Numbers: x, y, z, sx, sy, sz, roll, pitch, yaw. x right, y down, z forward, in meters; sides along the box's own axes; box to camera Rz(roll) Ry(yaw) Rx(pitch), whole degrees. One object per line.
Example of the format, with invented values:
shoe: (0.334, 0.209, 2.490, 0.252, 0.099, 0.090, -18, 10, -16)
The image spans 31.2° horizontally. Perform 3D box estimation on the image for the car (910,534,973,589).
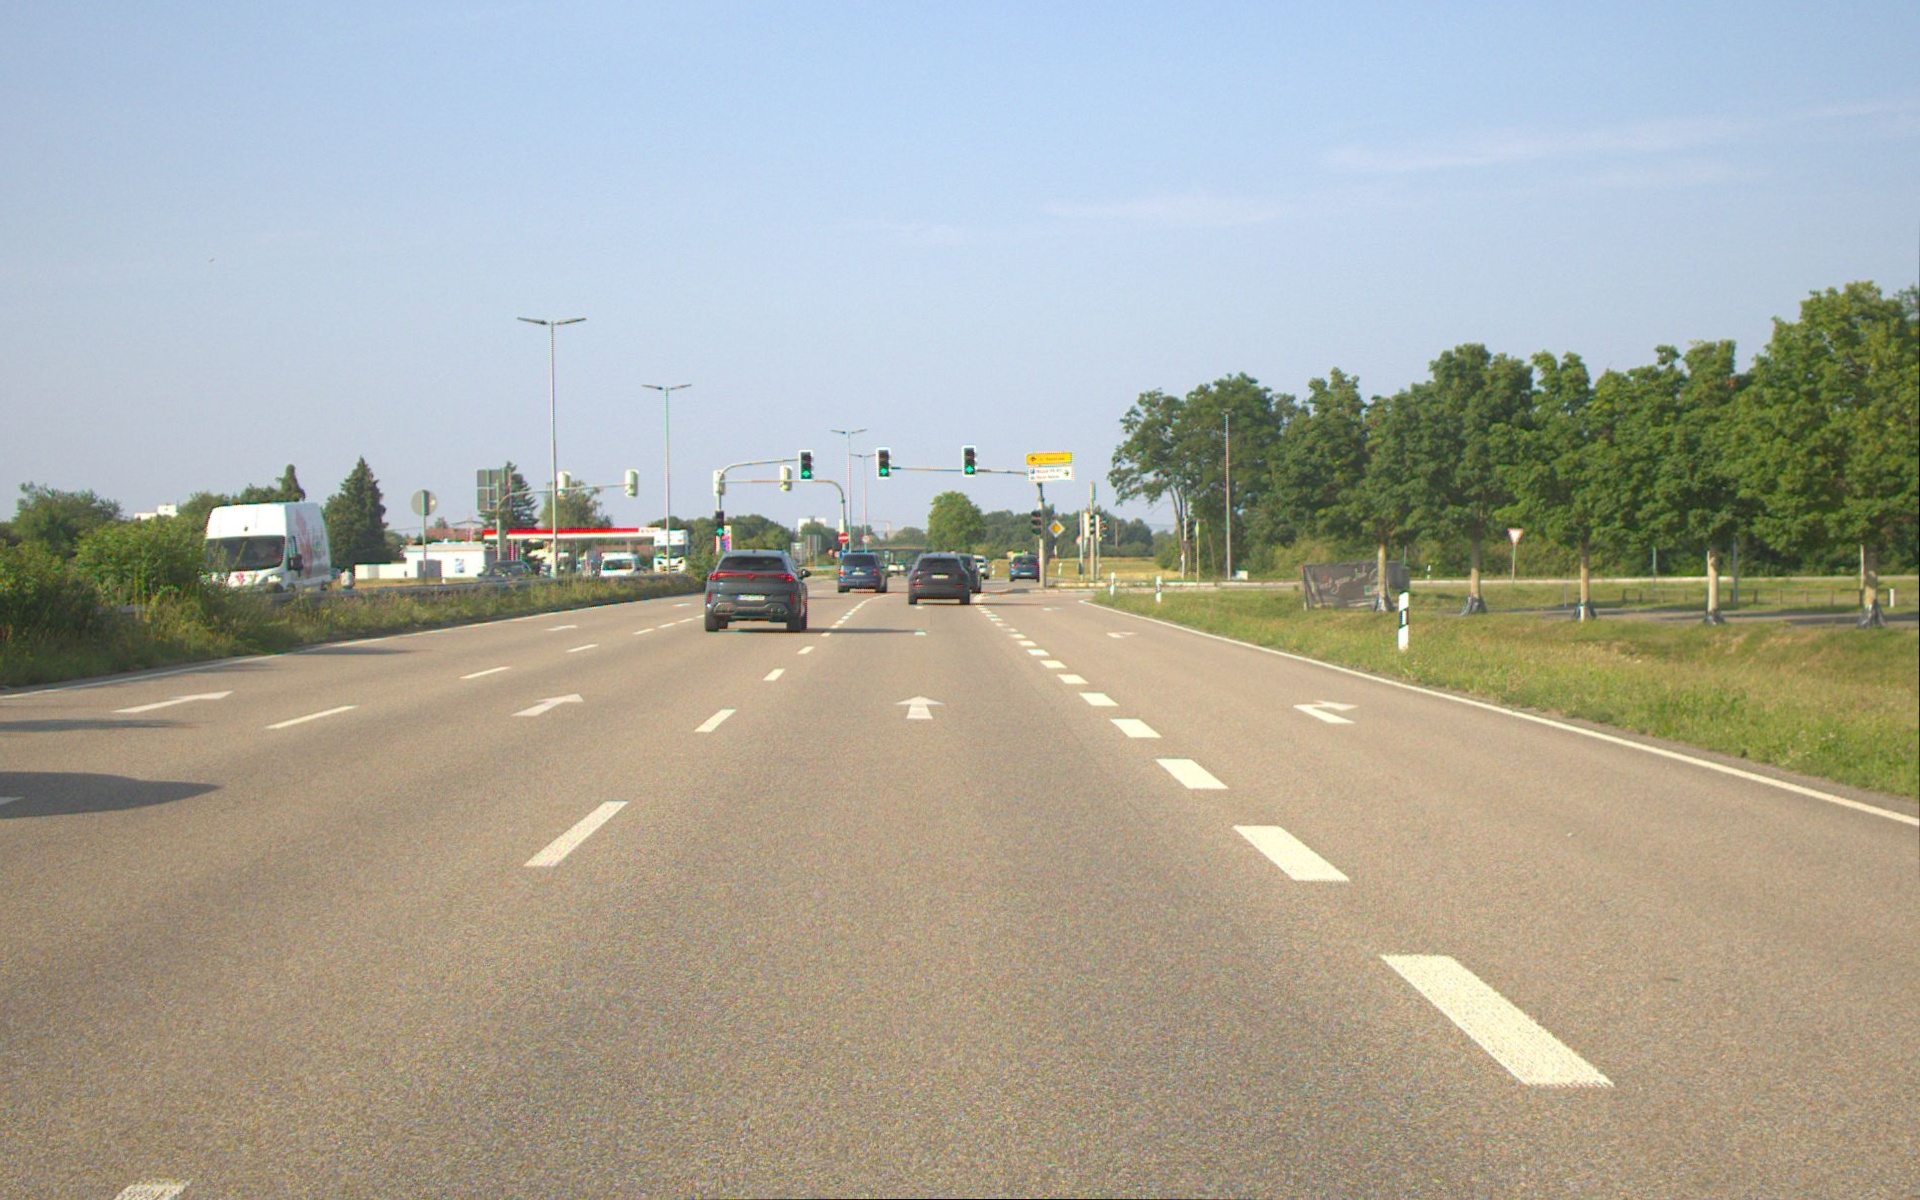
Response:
car: (-0.593, -1.249, 110.029, 1.932, 1.674, 4.401, 2, 1, -1)

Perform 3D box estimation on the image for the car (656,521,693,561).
car: (-20.690, -4.275, 249.532, 2.271, 2.843, 5.249, 0, 1, -1)

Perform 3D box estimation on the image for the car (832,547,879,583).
car: (-4.286, -1.442, 141.472, 1.812, 1.458, 4.401, 0, 1, -1)

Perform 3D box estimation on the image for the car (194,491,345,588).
car: (-15.235, -1.301, 76.194, 2.161, 2.028, 6.323, 1, 0, -1)

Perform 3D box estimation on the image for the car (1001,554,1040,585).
car: (3.314, -1.678, 188.965, 1.946, 1.630, 3.448, 1, 0, -2)

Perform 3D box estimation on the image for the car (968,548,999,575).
car: (1.408, -2.310, 206.682, 1.718, 1.541, 3.329, 1, 0, -1)

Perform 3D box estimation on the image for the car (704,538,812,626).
car: (-3.919, -0.372, 67.200, 1.845, 1.606, 4.401, 2, 1, -1)
